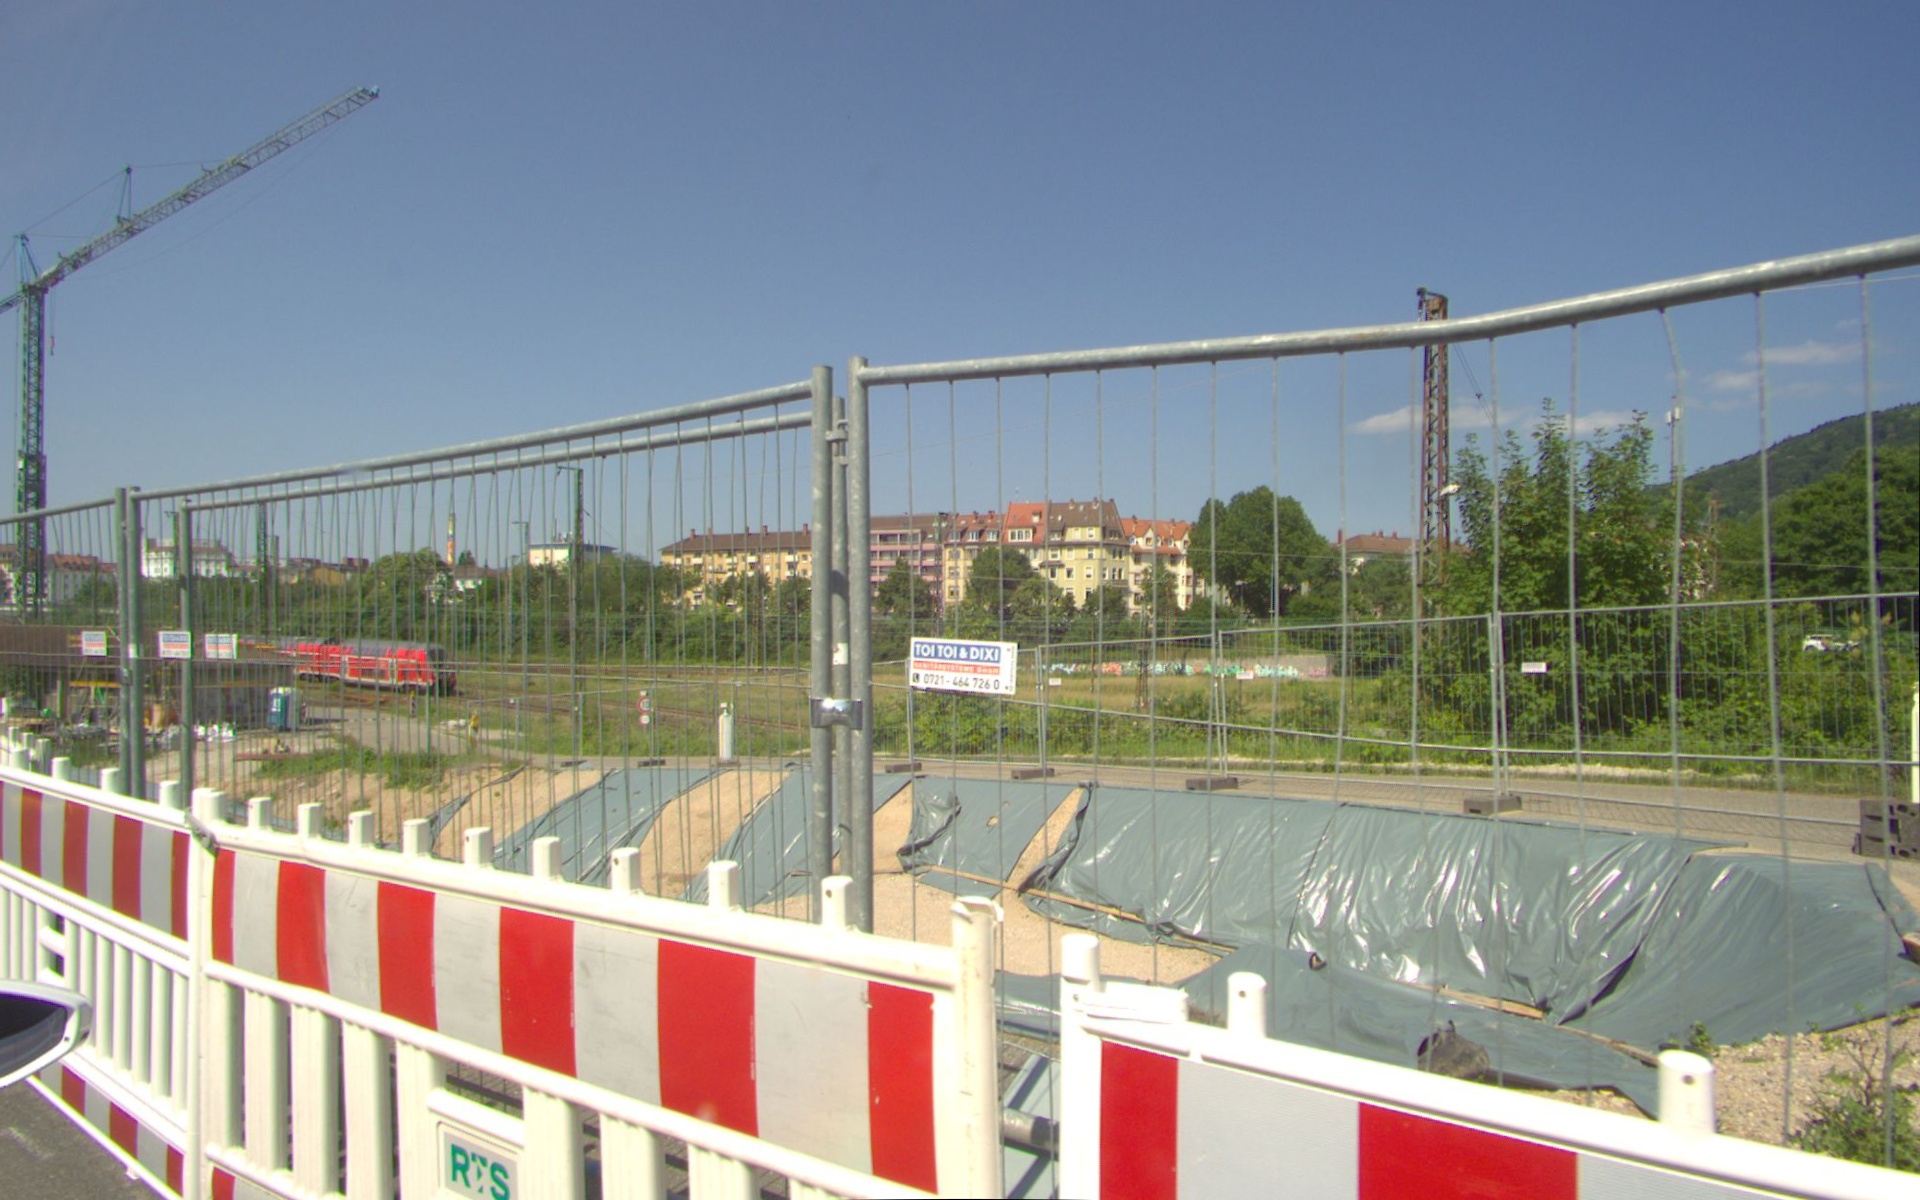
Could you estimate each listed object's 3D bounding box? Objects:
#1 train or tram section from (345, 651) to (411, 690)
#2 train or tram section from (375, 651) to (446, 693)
[{"bbox_3d":[-58.359,7.023,100.324,8.875,3.759,3.001,-2,-5,42],"label":"train or tram section"},{"bbox_3d":[-51.826,6.775,94.353,8.874,3.746,3.001,-2,-5,42],"label":"train or tram section"}]
